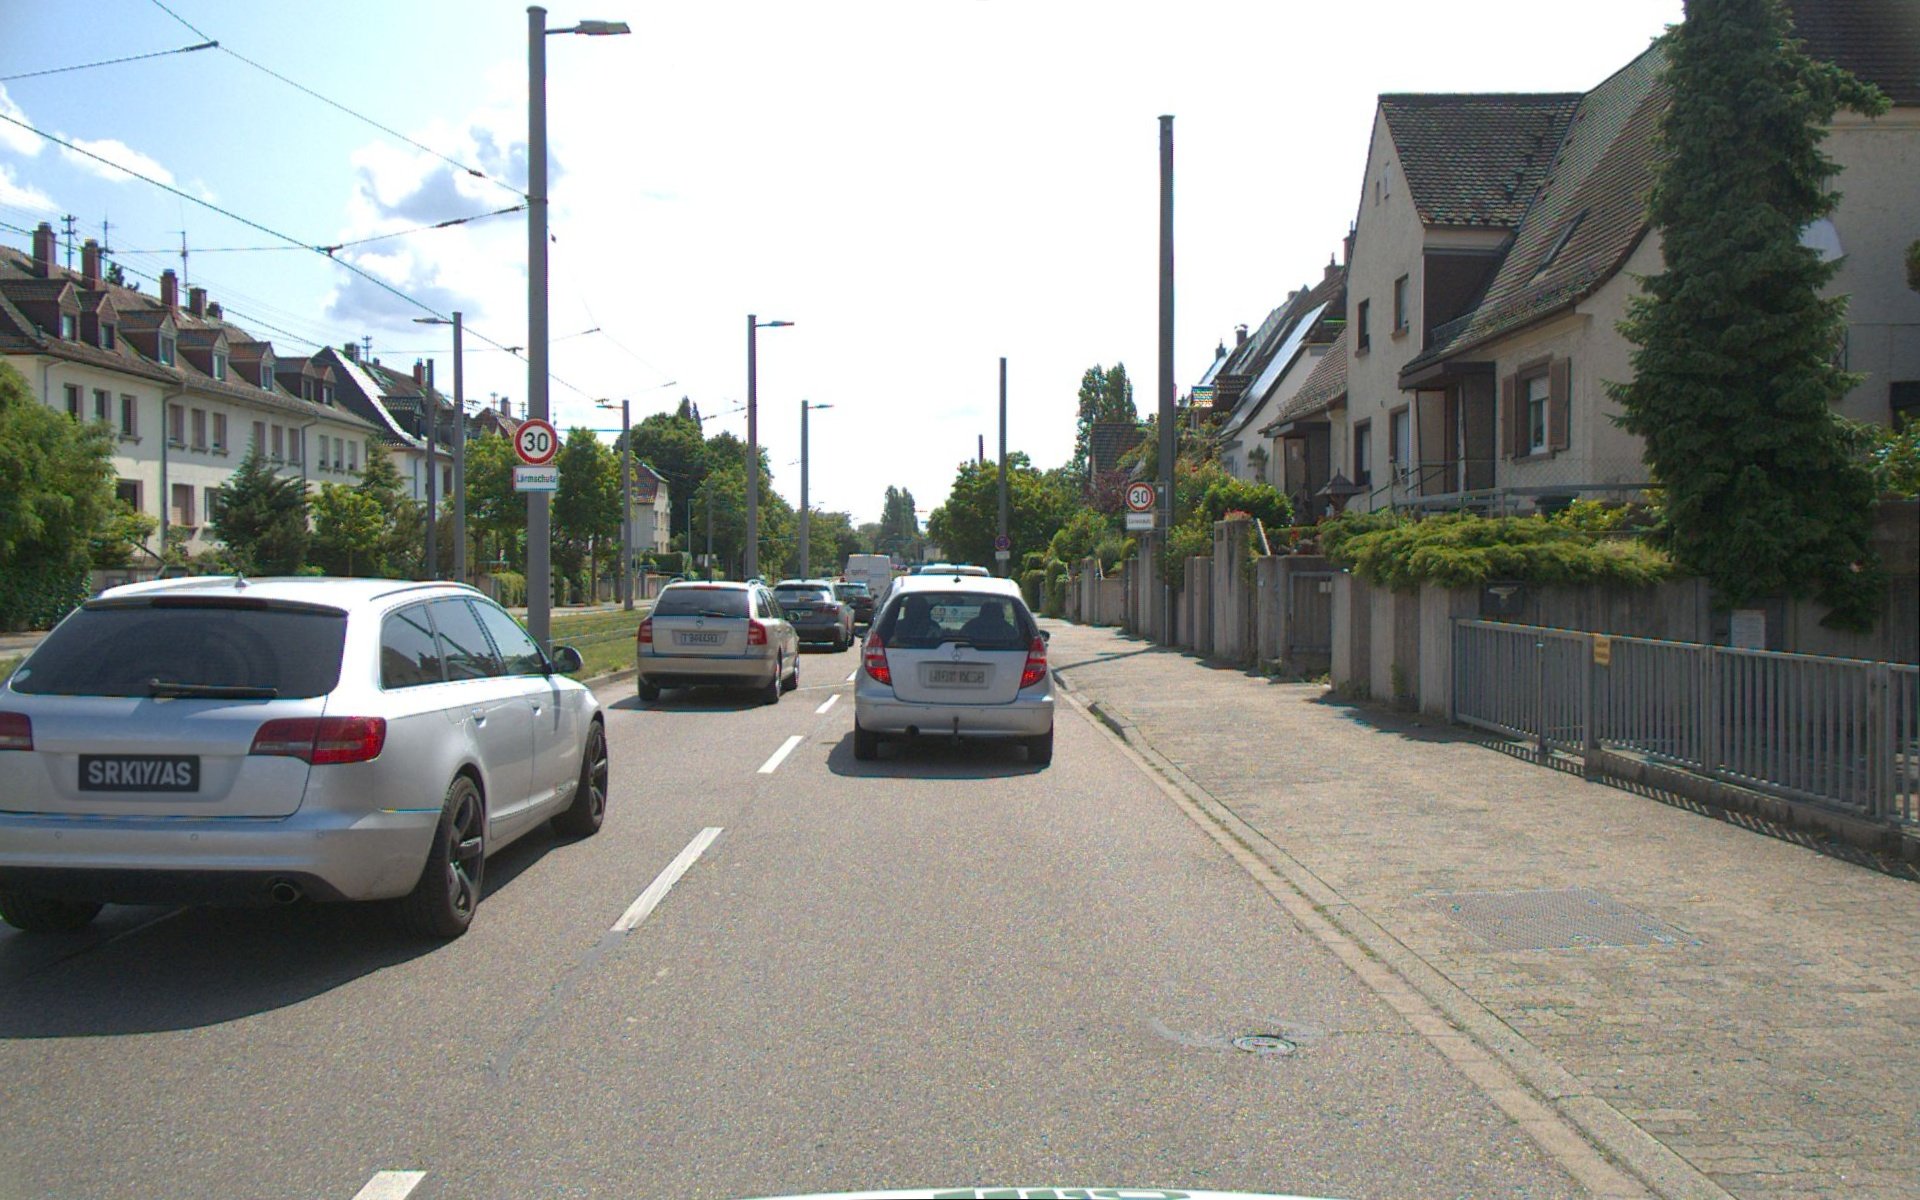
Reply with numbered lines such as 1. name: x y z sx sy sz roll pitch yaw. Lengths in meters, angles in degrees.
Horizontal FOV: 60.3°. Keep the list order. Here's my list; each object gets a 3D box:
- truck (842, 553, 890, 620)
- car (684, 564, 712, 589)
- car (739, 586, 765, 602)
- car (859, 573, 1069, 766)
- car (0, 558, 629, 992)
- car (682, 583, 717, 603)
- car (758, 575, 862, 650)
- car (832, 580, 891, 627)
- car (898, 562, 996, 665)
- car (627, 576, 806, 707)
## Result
1. truck: -3.818 -0.550 67.575 1.815 2.597 5.852 1 0 -3
2. car: -25.610 -2.265 162.000 1.877 2.370 4.563 2 1 1
3. car: -20.468 -0.612 163.157 1.877 1.503 4.563 2 1 1
4. car: -0.063 0.555 15.591 1.695 1.543 4.014 2 0 -3
5. car: -2.926 0.589 8.113 1.758 1.497 4.720 1 1 -2
6. car: -20.149 -0.565 128.209 1.877 1.503 4.563 2 1 1
7. car: -3.217 0.230 36.173 1.877 1.503 4.561 2 1 -1
8. car: -3.176 0.086 54.014 1.815 1.412 4.512 2 0 -3
9. car: -0.207 0.232 31.519 1.694 1.793 4.017 2 0 1
10. car: -3.014 0.469 21.211 1.696 1.474 4.122 2 0 -1
